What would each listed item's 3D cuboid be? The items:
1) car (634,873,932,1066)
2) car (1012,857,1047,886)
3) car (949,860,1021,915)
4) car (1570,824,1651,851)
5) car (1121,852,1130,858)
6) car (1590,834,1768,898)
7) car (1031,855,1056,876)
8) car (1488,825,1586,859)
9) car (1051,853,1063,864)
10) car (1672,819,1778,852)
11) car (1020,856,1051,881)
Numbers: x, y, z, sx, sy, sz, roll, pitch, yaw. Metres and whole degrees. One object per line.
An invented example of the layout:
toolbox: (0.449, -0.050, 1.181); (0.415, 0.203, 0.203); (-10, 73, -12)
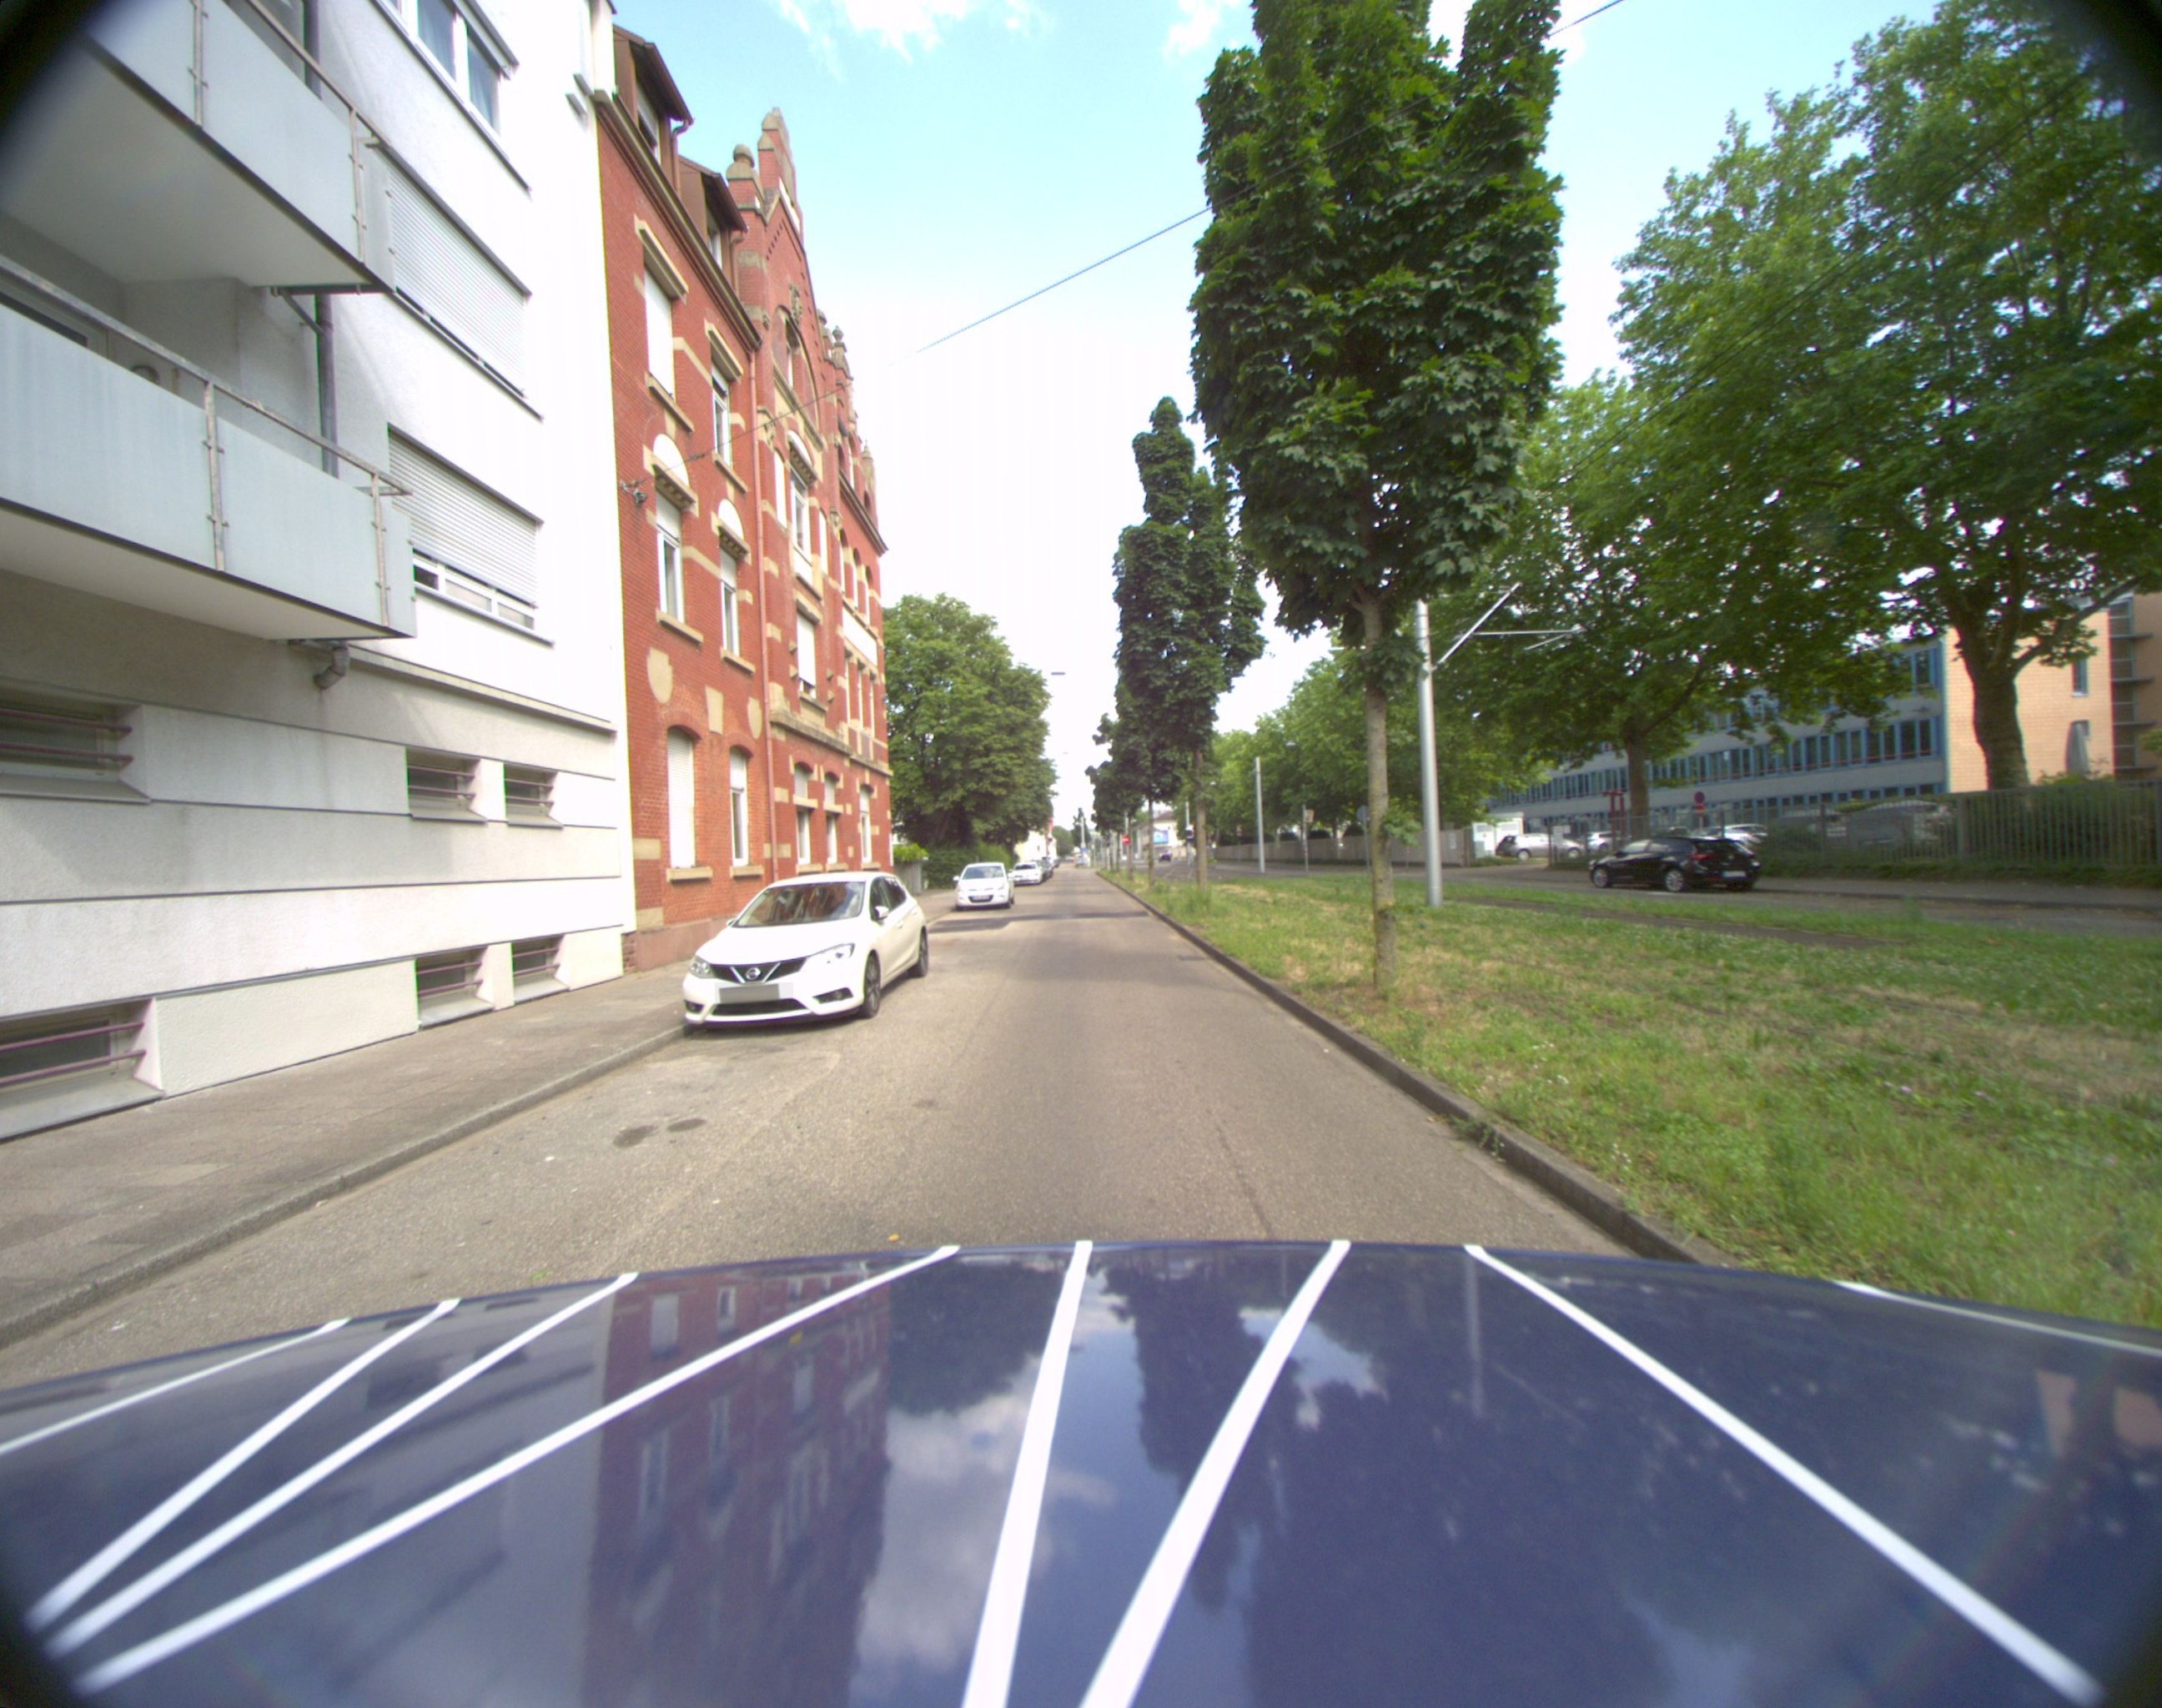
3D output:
car: (-3.062, 1.087, 8.821); (1.801, 1.521, 4.040); (-3, 0, 0)
car: (-3.124, 1.032, 46.675); (1.801, 1.521, 4.040); (-5, 0, 0)
car: (-3.075, 1.031, 25.150); (1.801, 1.521, 4.040); (-4, 0, 0)
car: (35.388, -1.074, 50.862); (3.997, 1.608, 1.999); (-2, 1, -2)
car: (10.734, 0.236, 182.628); (1.801, 1.521, 4.040); (-4, 0, 0)
car: (15.557, 0.279, 20.066); (1.601, 1.455, 4.000); (-3, 0, 2)
car: (-3.123, 0.969, 63.782); (1.801, 1.521, 4.040); (-5, 0, 0)
car: (24.095, -0.624, 40.252); (3.997, 1.608, 1.999); (-2, 1, -2)
car: (-3.827, 0.749, 121.816); (1.801, 1.521, 4.040); (-5, 0, 0)
car: (34.570, -0.977, 40.872); (3.997, 1.608, 1.999); (-2, 1, -2)
car: (-3.154, 0.961, 52.909); (1.801, 1.521, 4.040); (-5, 0, 0)
